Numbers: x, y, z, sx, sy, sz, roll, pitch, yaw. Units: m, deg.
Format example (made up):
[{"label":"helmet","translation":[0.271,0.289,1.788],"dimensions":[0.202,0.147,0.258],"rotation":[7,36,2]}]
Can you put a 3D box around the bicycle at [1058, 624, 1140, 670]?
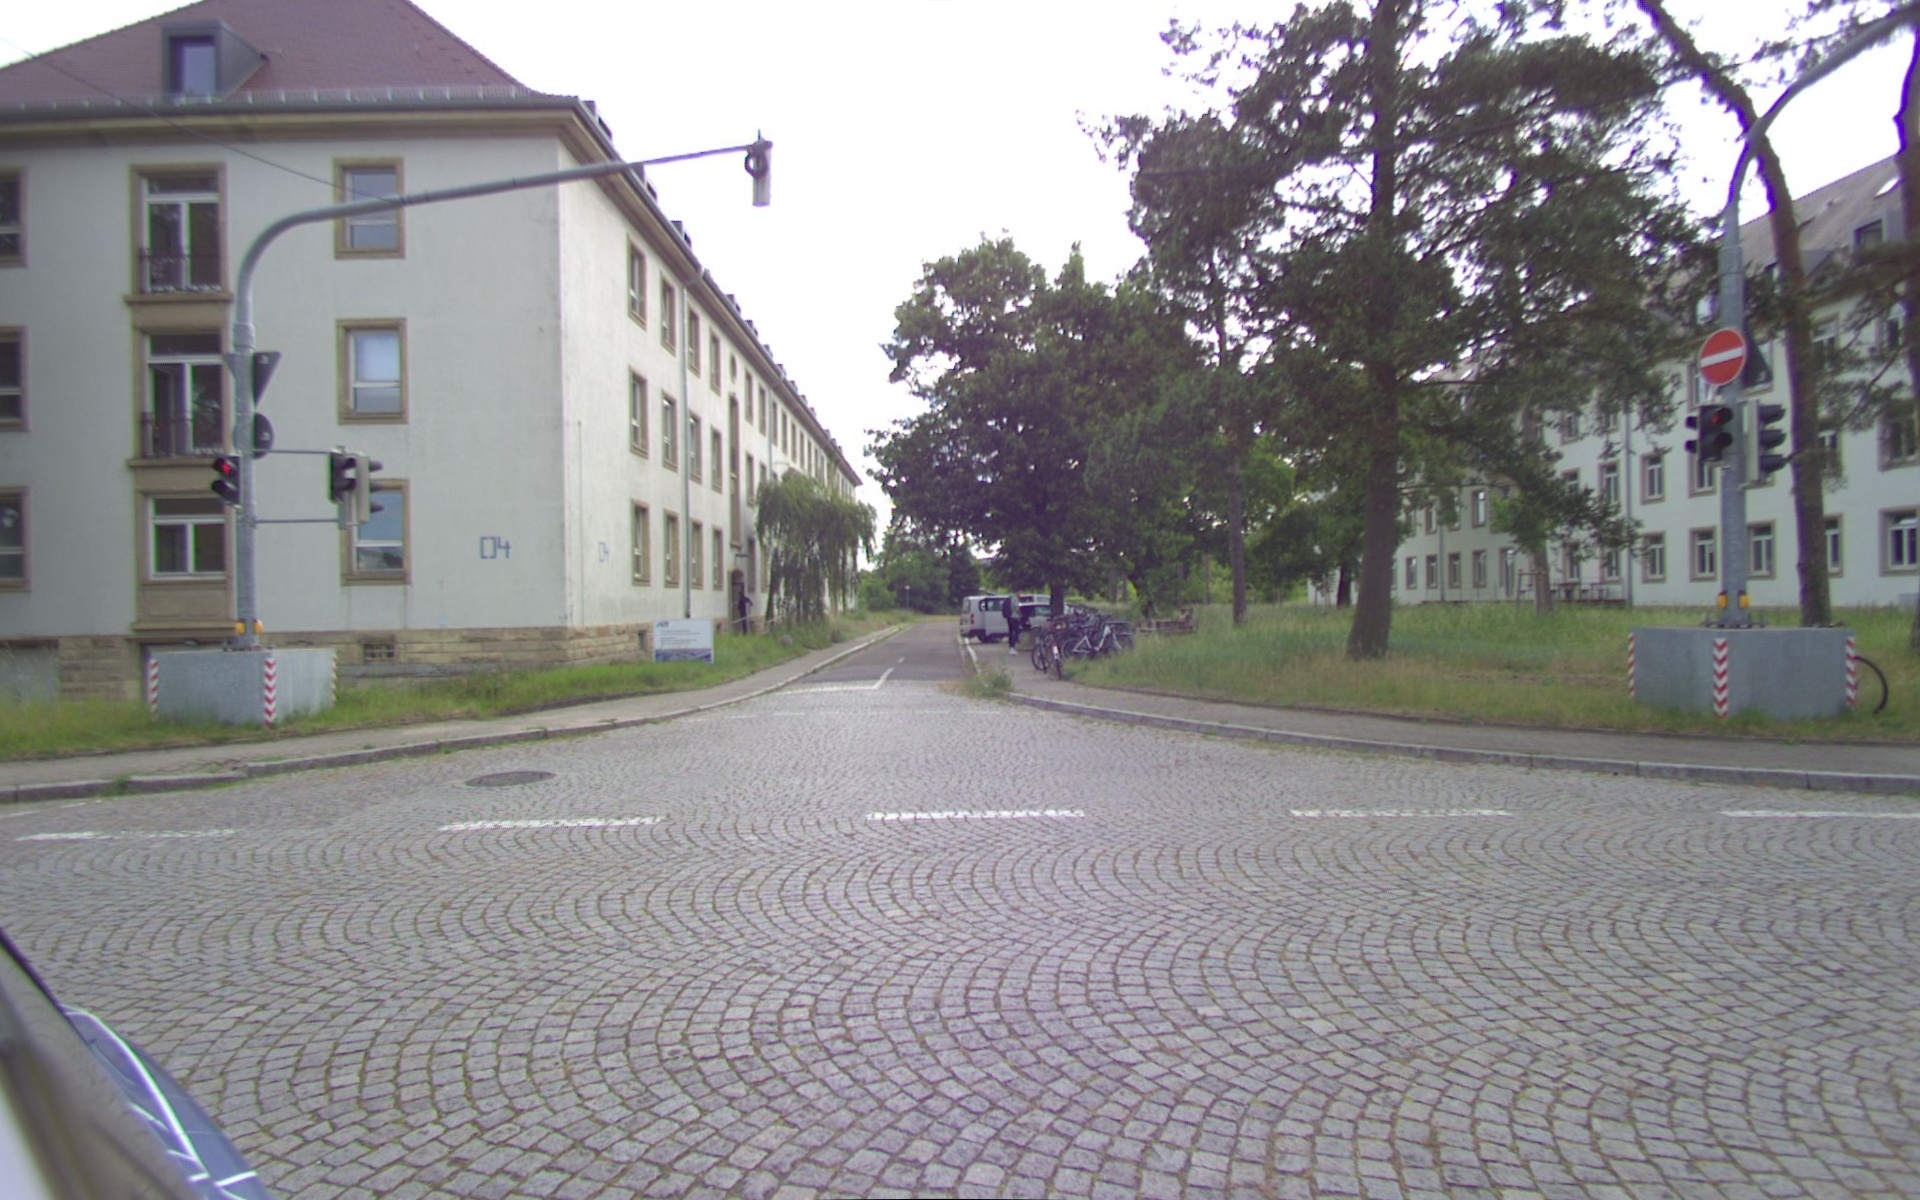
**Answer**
[{"label":"bicycle","translation":[3.413,1.153,24.917],"dimensions":[1.924,1.073,0.563],"rotation":[-1,-1,-1]}]

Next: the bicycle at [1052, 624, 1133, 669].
[{"label":"bicycle","translation":[3.322,1.152,25.404],"dimensions":[1.924,1.073,0.563],"rotation":[-1,-1,-1]}]

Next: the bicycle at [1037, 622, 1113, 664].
[{"label":"bicycle","translation":[3.061,1.146,27.074],"dimensions":[1.924,1.073,0.563],"rotation":[-1,-1,-1]}]

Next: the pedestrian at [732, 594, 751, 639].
[{"label":"pedestrian","translation":[-8.370,0.640,38.725],"dimensions":[0.561,1.714,0.531],"rotation":[-1,-1,4]}]

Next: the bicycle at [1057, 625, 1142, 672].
[{"label":"bicycle","translation":[3.337,1.156,24.270],"dimensions":[1.924,1.073,0.563],"rotation":[-1,-1,-1]}]

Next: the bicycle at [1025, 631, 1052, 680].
[{"label":"bicycle","translation":[1.681,1.168,21.601],"dimensions":[0.454,0.981,1.658],"rotation":[-1,-1,8]}]

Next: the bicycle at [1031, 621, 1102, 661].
[{"label":"bicycle","translation":[2.986,1.143,28.509],"dimensions":[1.924,1.073,0.563],"rotation":[-1,-1,-1]}]

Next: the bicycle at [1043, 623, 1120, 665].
[{"label":"bicycle","translation":[3.170,1.146,26.527],"dimensions":[1.924,1.073,0.563],"rotation":[-1,-1,-1]}]

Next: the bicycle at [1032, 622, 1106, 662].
[{"label":"bicycle","translation":[2.985,1.145,27.783],"dimensions":[1.924,1.073,0.563],"rotation":[-1,-1,-1]}]

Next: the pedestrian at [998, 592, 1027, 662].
[{"label":"pedestrian","translation":[1.490,0.763,28.791],"dimensions":[0.782,1.952,0.588],"rotation":[-1,-1,0]}]

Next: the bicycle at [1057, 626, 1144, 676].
[{"label":"bicycle","translation":[3.216,1.161,23.187],"dimensions":[1.872,1.073,0.617],"rotation":[-1,-1,-1]}]

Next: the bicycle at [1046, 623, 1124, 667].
[{"label":"bicycle","translation":[3.199,1.147,25.986],"dimensions":[1.924,1.073,0.563],"rotation":[-1,-1,-1]}]

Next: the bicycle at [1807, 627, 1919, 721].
[{"label":"bicycle","translation":[9.544,0.747,10.553],"dimensions":[0.288,0.923,1.057],"rotation":[-1,-1,-22]}]

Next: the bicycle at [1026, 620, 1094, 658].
[{"label":"bicycle","translation":[2.932,1.140,29.787],"dimensions":[1.924,1.073,0.563],"rotation":[-1,-1,-1]}]

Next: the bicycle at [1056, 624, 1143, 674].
[{"label":"bicycle","translation":[3.264,1.135,23.743],"dimensions":[1.924,1.119,0.563],"rotation":[-1,-1,-1]}]

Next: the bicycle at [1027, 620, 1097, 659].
[{"label":"bicycle","translation":[2.933,1.142,29.187],"dimensions":[1.924,1.073,0.563],"rotation":[-1,-1,-1]}]

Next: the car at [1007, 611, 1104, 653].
[{"label":"car","translation":[3.528,1.176,37.980],"dimensions":[3.392,1.460,1.914],"rotation":[-1,-1,-1]}]

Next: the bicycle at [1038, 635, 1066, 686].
[{"label":"bicycle","translation":[1.786,1.155,19.778],"dimensions":[0.454,0.916,1.661],"rotation":[-1,-1,3]}]

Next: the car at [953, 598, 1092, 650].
[{"label":"car","translation":[2.521,0.971,41.628],"dimensions":[5.282,2.014,2.295],"rotation":[-1,-1,-8]}]
